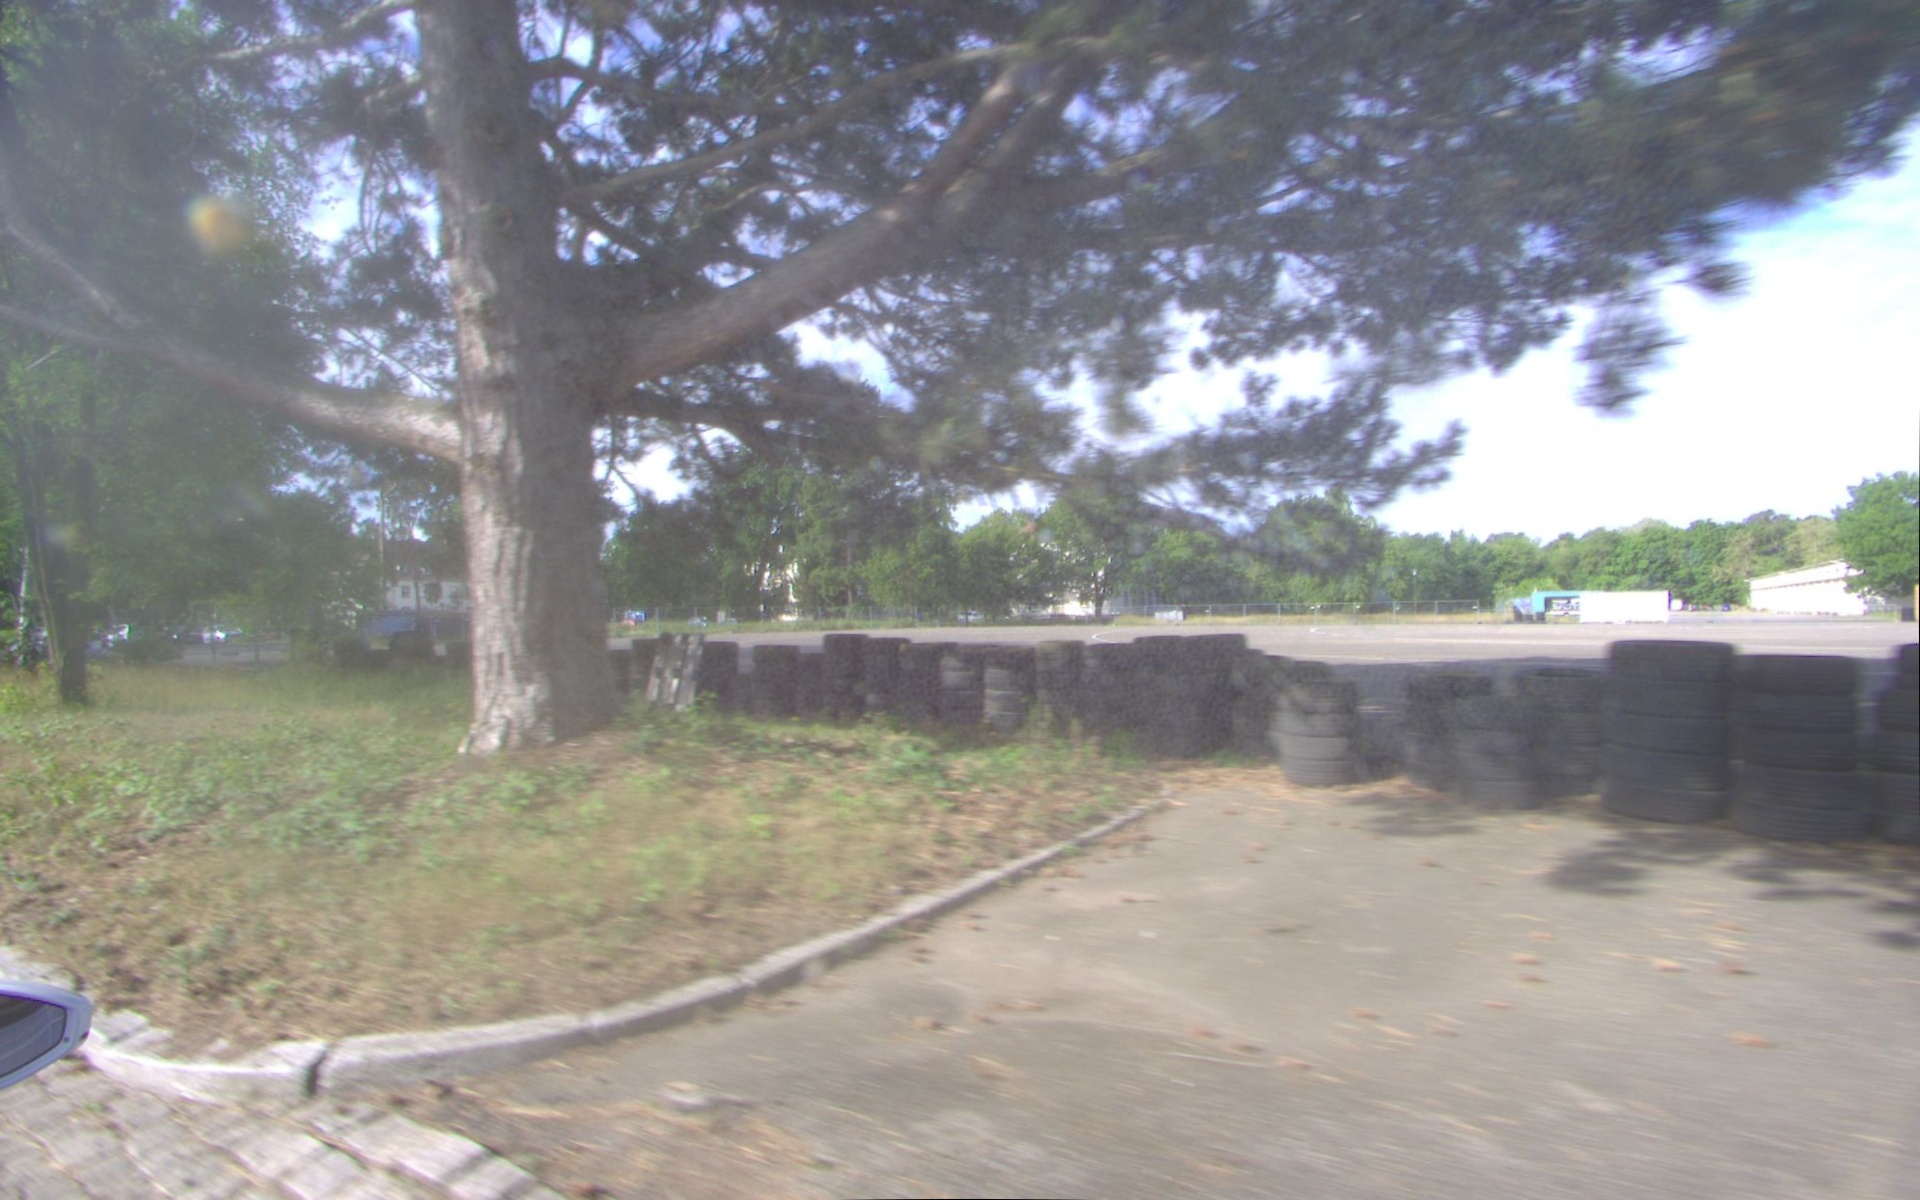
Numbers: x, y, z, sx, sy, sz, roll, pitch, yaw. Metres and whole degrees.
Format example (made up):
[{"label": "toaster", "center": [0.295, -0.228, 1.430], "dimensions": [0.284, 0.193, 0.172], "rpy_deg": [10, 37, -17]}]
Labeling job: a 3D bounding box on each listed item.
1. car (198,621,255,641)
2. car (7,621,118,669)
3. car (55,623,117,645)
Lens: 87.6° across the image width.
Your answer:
[{"label": "car", "center": [-51.168, 2.151, 69.839], "dimensions": [4.269, 1.329, 1.728], "rpy_deg": [-1, 0, 31]}, {"label": "car", "center": [-29.937, 1.473, 33.386], "dimensions": [3.942, 1.487, 1.664], "rpy_deg": [-1, 0, 31]}, {"label": "car", "center": [-54.844, 2.120, 62.821], "dimensions": [4.269, 1.329, 1.728], "rpy_deg": [-1, 0, 31]}]
